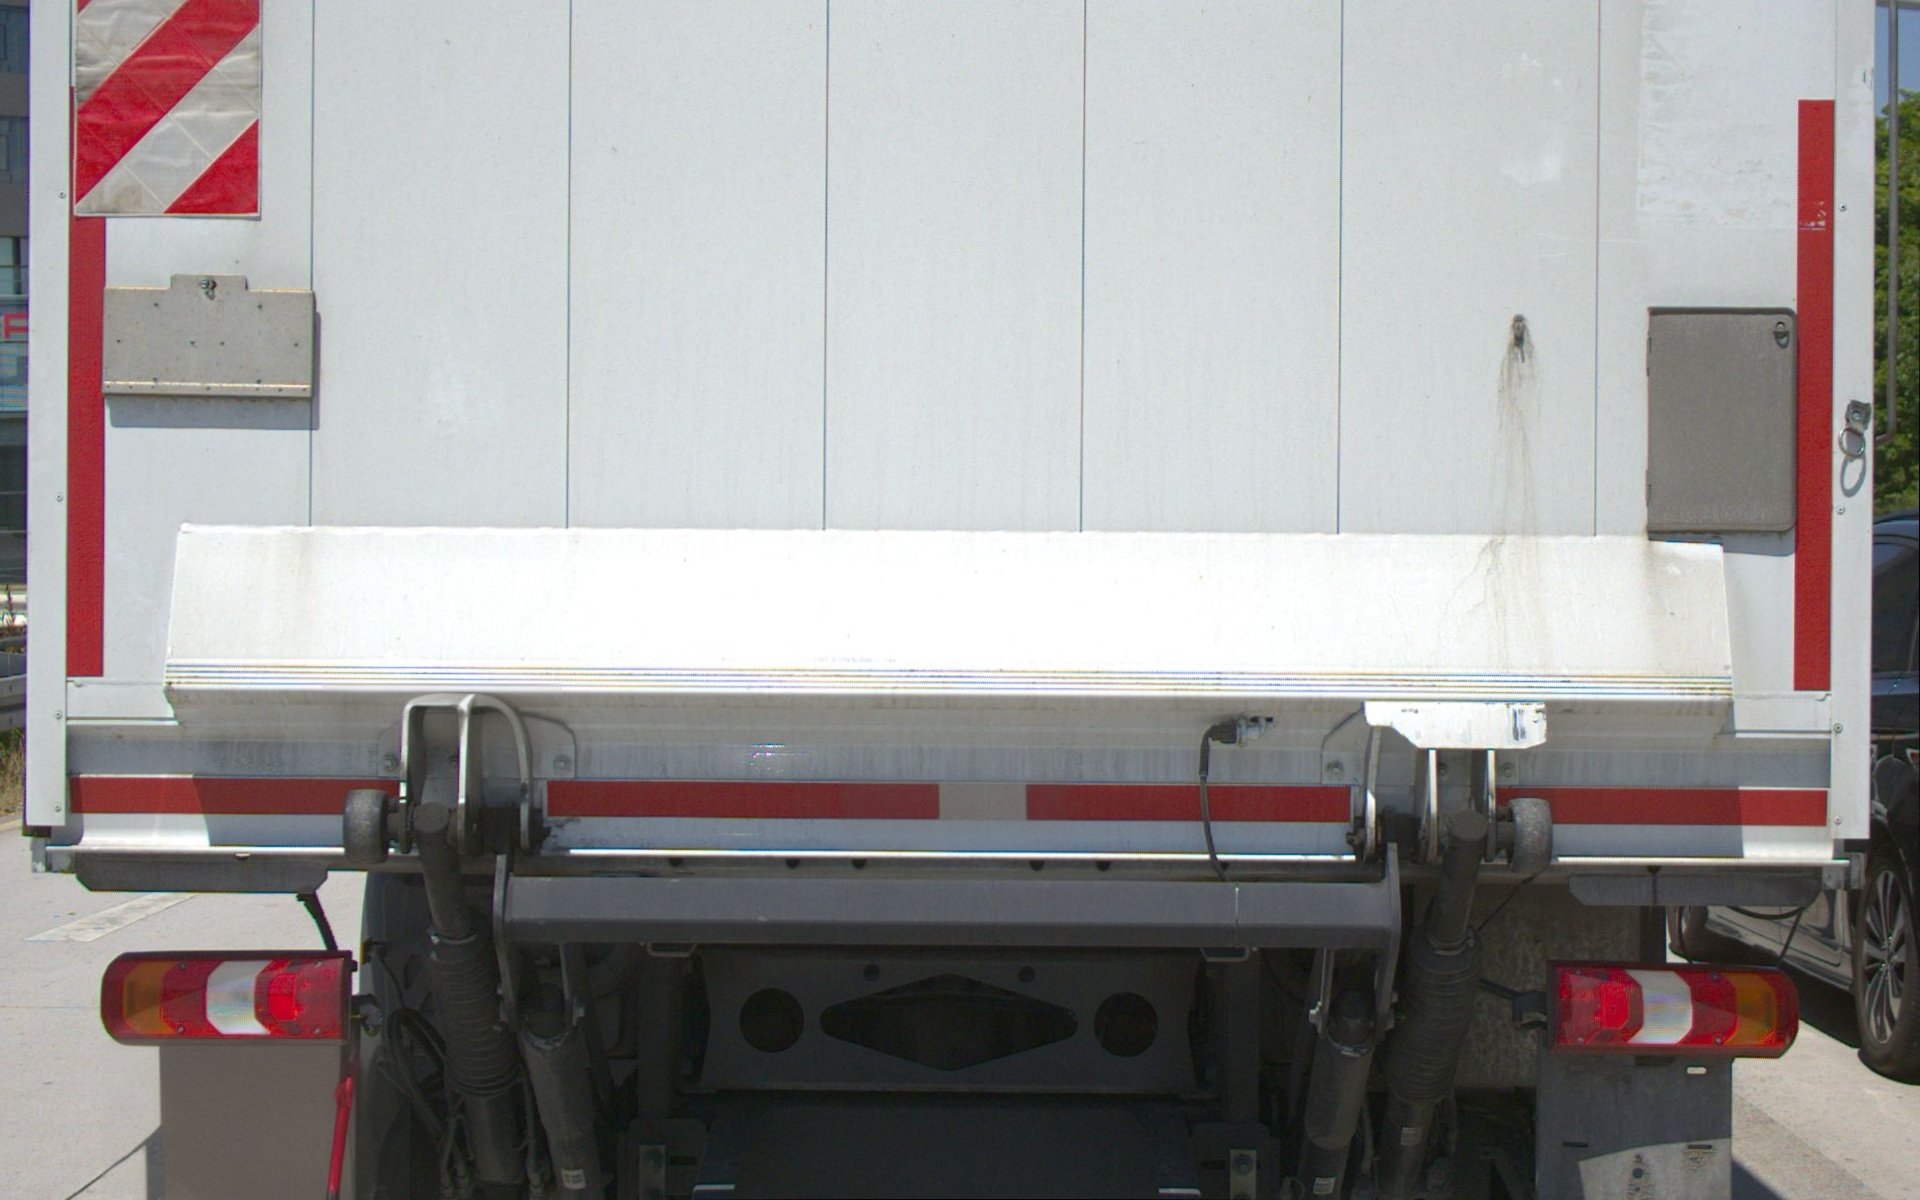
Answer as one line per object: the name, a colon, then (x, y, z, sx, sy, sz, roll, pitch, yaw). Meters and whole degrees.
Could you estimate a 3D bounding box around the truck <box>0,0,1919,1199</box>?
truck: (0.006, -0.553, 9.168, 2.769, 3.846, 9.371, 1, 1, -1)

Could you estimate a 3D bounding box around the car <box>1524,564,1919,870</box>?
car: (4.186, 0.523, 18.254, 1.768, 1.405, 4.609, 1, 1, 2)

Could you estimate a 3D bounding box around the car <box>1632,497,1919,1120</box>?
car: (3.470, 0.537, 11.083, 1.784, 1.634, 4.647, 1, 1, 1)
